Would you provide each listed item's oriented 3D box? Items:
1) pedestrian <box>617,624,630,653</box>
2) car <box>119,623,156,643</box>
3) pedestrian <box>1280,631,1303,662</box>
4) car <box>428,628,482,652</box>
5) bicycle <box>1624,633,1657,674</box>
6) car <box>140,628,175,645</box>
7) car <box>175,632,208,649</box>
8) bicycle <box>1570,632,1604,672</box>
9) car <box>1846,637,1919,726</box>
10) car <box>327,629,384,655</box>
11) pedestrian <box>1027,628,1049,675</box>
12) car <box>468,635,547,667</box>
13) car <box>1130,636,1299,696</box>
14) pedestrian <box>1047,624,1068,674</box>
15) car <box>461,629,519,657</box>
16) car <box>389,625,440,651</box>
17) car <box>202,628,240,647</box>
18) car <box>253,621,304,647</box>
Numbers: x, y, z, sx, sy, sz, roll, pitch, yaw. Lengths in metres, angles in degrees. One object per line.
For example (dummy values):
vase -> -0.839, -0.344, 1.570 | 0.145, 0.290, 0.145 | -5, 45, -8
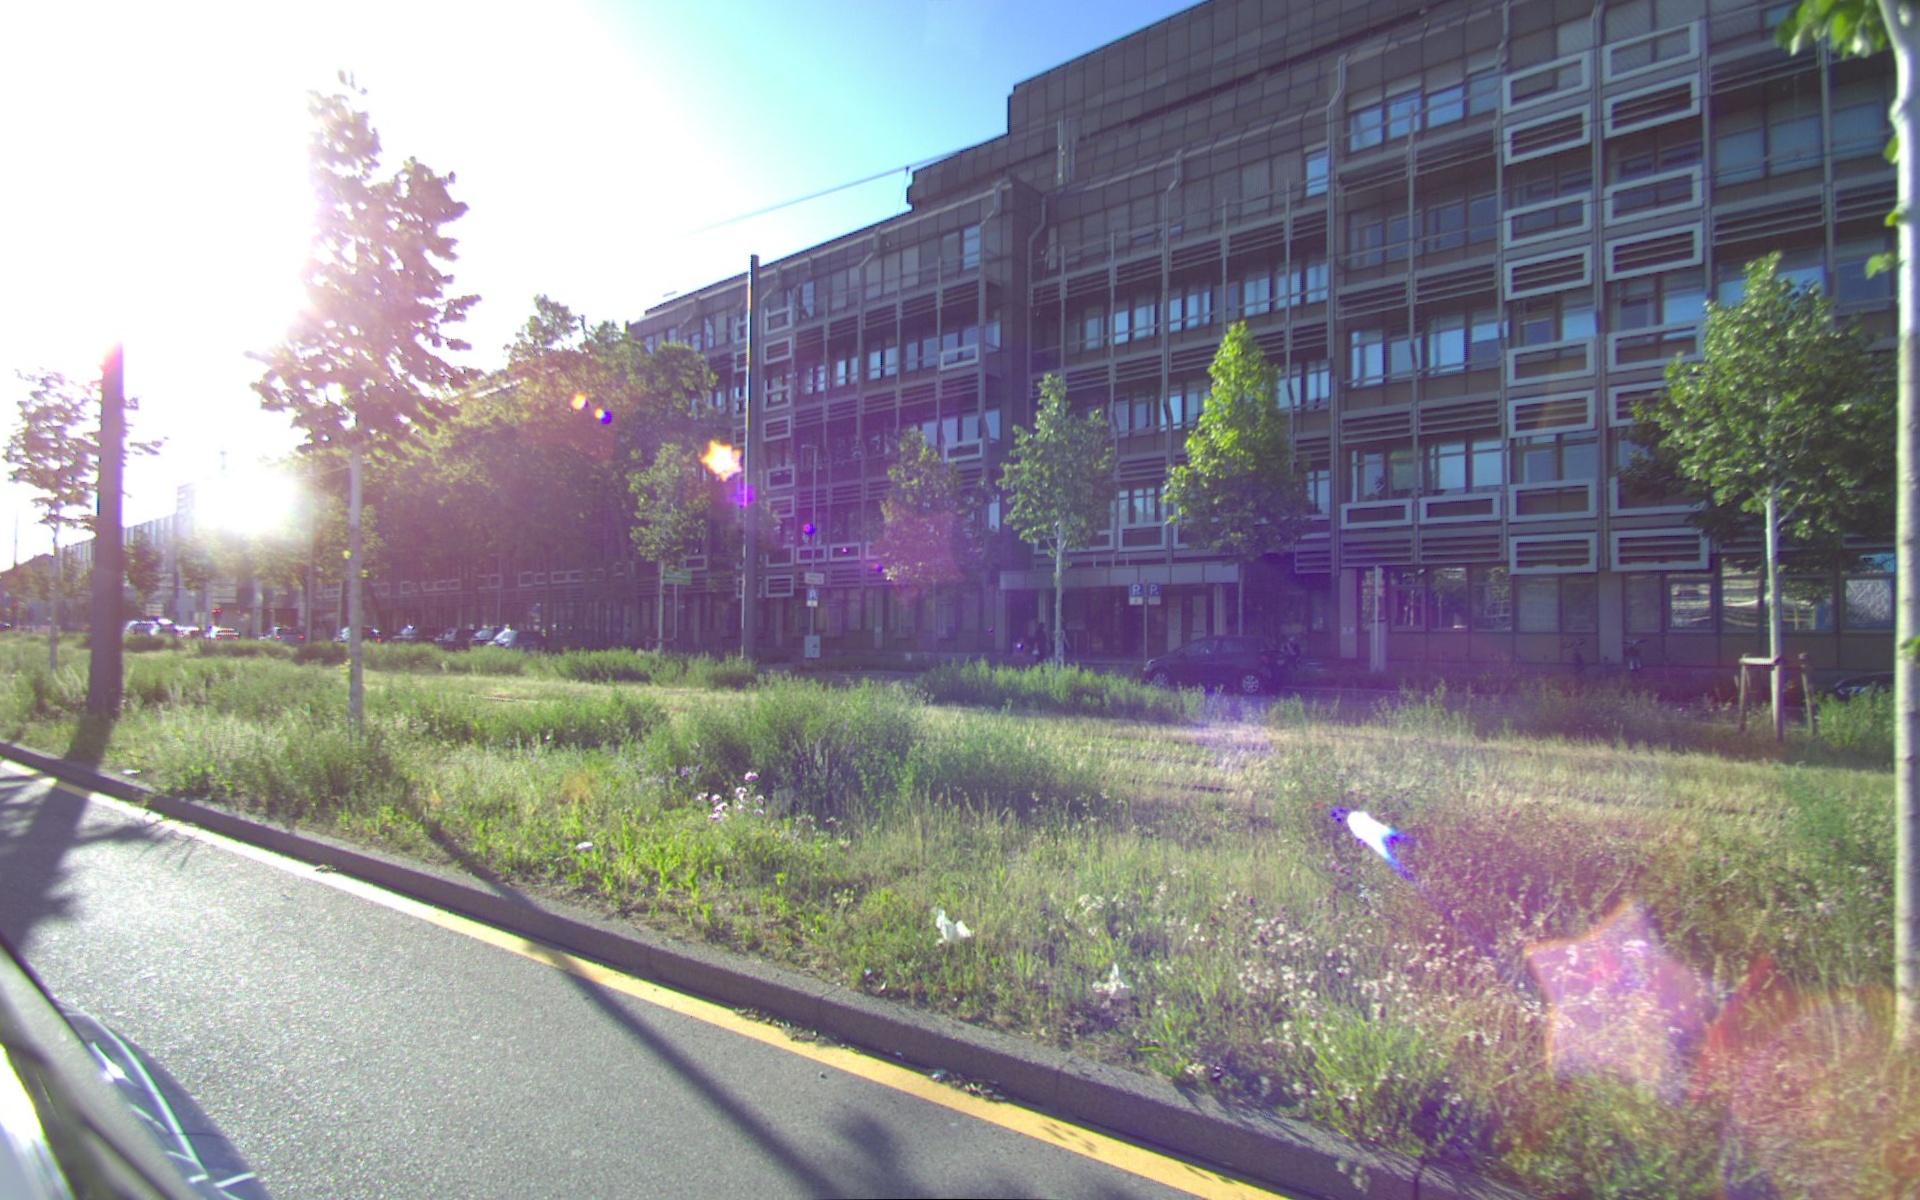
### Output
pedestrian -> -20.267, 2.325, 60.980 | 0.638, 1.763, 0.477 | -1, -3, 41
car -> -72.518, 2.913, 89.244 | 3.777, 1.694, 1.841 | -1, -3, 41
pedestrian -> 10.637, 1.488, 32.469 | 0.498, 0.993, 0.610 | -1, -3, 41
car -> -32.245, 2.554, 64.580 | 3.626, 1.497, 1.705 | -2, -2, 38
bicycle -> 18.236, 1.421, 27.107 | 0.425, 1.080, 1.907 | -2, -3, 43
car -> -65.312, 2.966, 82.353 | 3.777, 1.390, 1.535 | -1, -3, 41
car -> -67.516, 3.561, 88.863 | 3.777, 1.390, 1.535 | -1, -3, 41
bicycle -> 17.285, 1.429, 27.871 | 0.425, 1.080, 1.854 | -2, -3, 43
car -> 18.291, 1.404, 17.354 | 4.497, 1.480, 1.713 | -2, -1, 38
car -> -36.742, 2.521, 61.487 | 4.414, 1.507, 1.611 | -1, -3, 41
pedestrian -> 2.665, 1.751, 34.590 | 0.536, 1.590, 0.515 | -2, -3, 42
car -> -20.377, 2.278, 45.499 | 4.037, 1.398, 1.698 | -2, -3, 41
car -> 6.686, 1.697, 26.802 | 4.035, 1.397, 1.699 | -1, -1, 39
pedestrian -> 3.380, 1.701, 35.124 | 0.536, 1.735, 0.515 | -2, -3, 42
car -> -28.053, 2.531, 60.368 | 3.627, 1.555, 1.705 | -1, 0, 38
car -> -36.719, 2.531, 68.098 | 3.627, 1.614, 1.705 | -1, 0, 38
car -> -59.810, 3.030, 81.913 | 3.777, 1.507, 1.611 | -1, -3, 41
car -> -41.315, 2.062, 61.328 | 3.777, 1.507, 1.611 | -1, -3, 41
